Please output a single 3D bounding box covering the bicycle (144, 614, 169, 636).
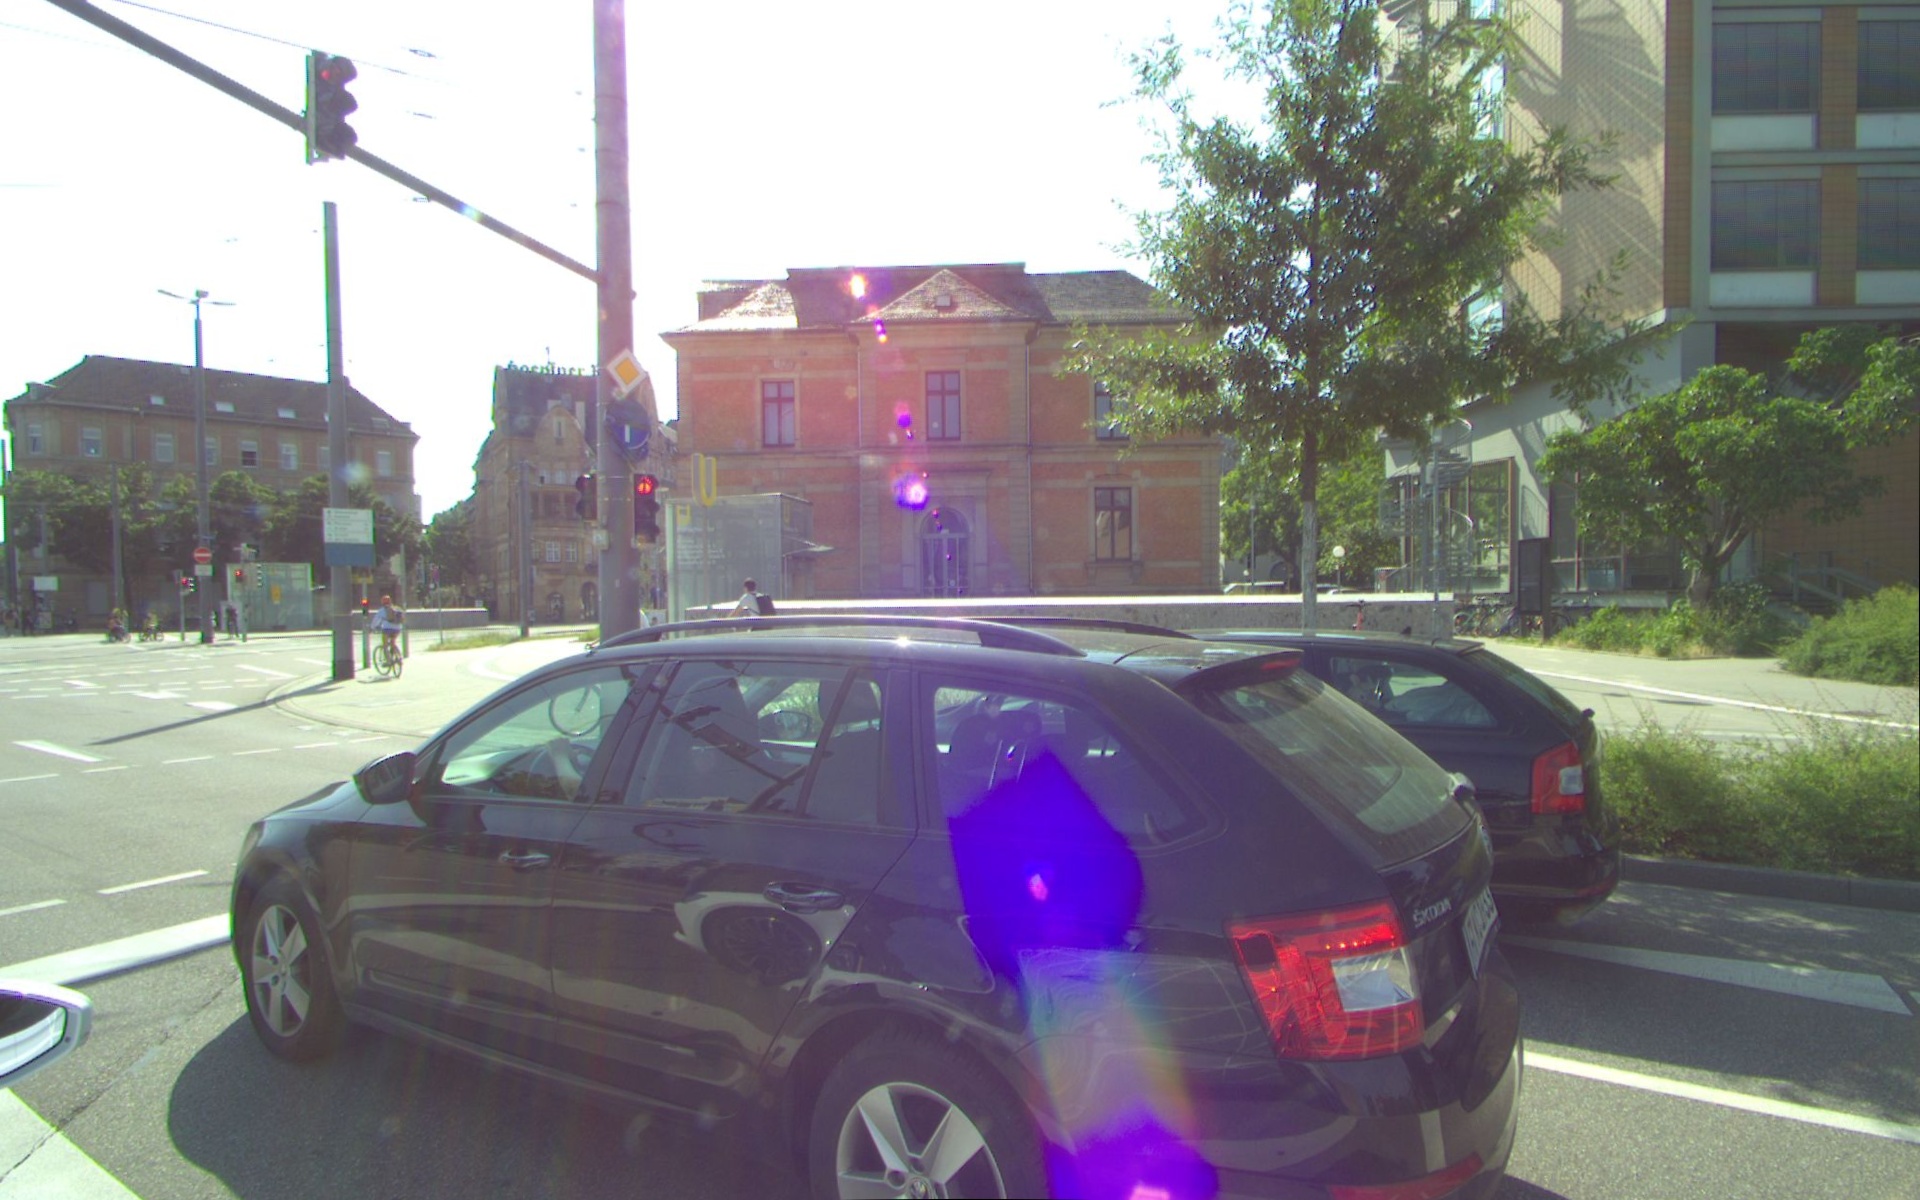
[{"bbox_3d":[-41.084,1.288,51.214,0.919,1.083,2.819,1,-1,-38],"label":"bicycle"}]

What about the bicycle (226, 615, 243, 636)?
[{"bbox_3d":[-39.028,1.367,53.863,0.660,1.083,2.447,1,-1,-35],"label":"bicycle"}]

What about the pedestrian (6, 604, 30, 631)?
[{"bbox_3d":[-51.055,0.975,54.292,0.699,1.451,0.614,0,-1,-5],"label":"pedestrian"}]

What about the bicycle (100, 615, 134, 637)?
[{"bbox_3d":[-42.022,1.322,49.896,2.717,1.083,0.922,-2,-2,42],"label":"bicycle"}]

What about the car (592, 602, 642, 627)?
[{"bbox_3d":[-19.245,0.812,56.348,1.639,1.331,3.452,-1,0,-1],"label":"car"}]

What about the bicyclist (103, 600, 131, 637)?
[{"bbox_3d":[-42.054,0.934,49.938,1.041,1.843,0.922,-1,-2,42],"label":"bicyclist"}]

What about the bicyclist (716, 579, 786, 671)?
[{"bbox_3d":[-3.532,0.438,16.959,0.936,1.507,0.713,-1,-2,32],"label":"bicyclist"}]

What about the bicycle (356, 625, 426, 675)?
[{"bbox_3d":[-12.961,1.121,22.771,1.997,1.029,0.710,-1,3,41],"label":"bicycle"}]

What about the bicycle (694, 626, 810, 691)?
[{"bbox_3d":[-3.524,0.968,16.932,1.992,1.028,0.713,-1,-1,32],"label":"bicycle"}]

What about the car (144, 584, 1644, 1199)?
[{"bbox_3d":[-0.673,0.766,3.287,4.710,1.454,1.628,-1,-1,31],"label":"car"}]

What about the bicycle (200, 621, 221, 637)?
[{"bbox_3d":[-39.949,1.543,53.345,1.567,0.877,0.498,0,-1,38],"label":"bicycle"}]

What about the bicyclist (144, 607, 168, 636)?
[{"bbox_3d":[-40.961,1.089,51.047,0.919,1.470,1.242,1,-1,-38],"label":"bicyclist"}]

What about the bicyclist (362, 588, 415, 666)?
[{"bbox_3d":[-12.977,0.605,22.736,0.864,1.692,0.710,0,3,40],"label":"bicyclist"}]

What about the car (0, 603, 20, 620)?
[{"bbox_3d":[-116.897,1.409,122.986,2.094,2.040,3.962,-1,0,-43],"label":"car"}]

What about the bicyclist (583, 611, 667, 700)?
[{"bbox_3d":[-4.261,0.685,12.731,0.901,1.043,0.714,-3,2,-24],"label":"bicyclist"}]

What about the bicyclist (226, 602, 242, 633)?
[{"bbox_3d":[-39.021,0.930,53.856,0.660,1.645,0.777,1,0,-35],"label":"bicyclist"}]

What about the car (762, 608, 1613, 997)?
[{"bbox_3d":[1.073,0.797,5.670,4.334,1.448,1.697,0,-1,32],"label":"car"}]

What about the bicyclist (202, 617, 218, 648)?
[{"bbox_3d":[-39.965,1.750,53.367,0.641,1.642,0.498,0,-1,38],"label":"bicyclist"}]

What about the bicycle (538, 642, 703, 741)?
[{"bbox_3d":[-4.303,1.129,12.716,1.887,1.029,0.714,-3,2,-24],"label":"bicycle"}]
